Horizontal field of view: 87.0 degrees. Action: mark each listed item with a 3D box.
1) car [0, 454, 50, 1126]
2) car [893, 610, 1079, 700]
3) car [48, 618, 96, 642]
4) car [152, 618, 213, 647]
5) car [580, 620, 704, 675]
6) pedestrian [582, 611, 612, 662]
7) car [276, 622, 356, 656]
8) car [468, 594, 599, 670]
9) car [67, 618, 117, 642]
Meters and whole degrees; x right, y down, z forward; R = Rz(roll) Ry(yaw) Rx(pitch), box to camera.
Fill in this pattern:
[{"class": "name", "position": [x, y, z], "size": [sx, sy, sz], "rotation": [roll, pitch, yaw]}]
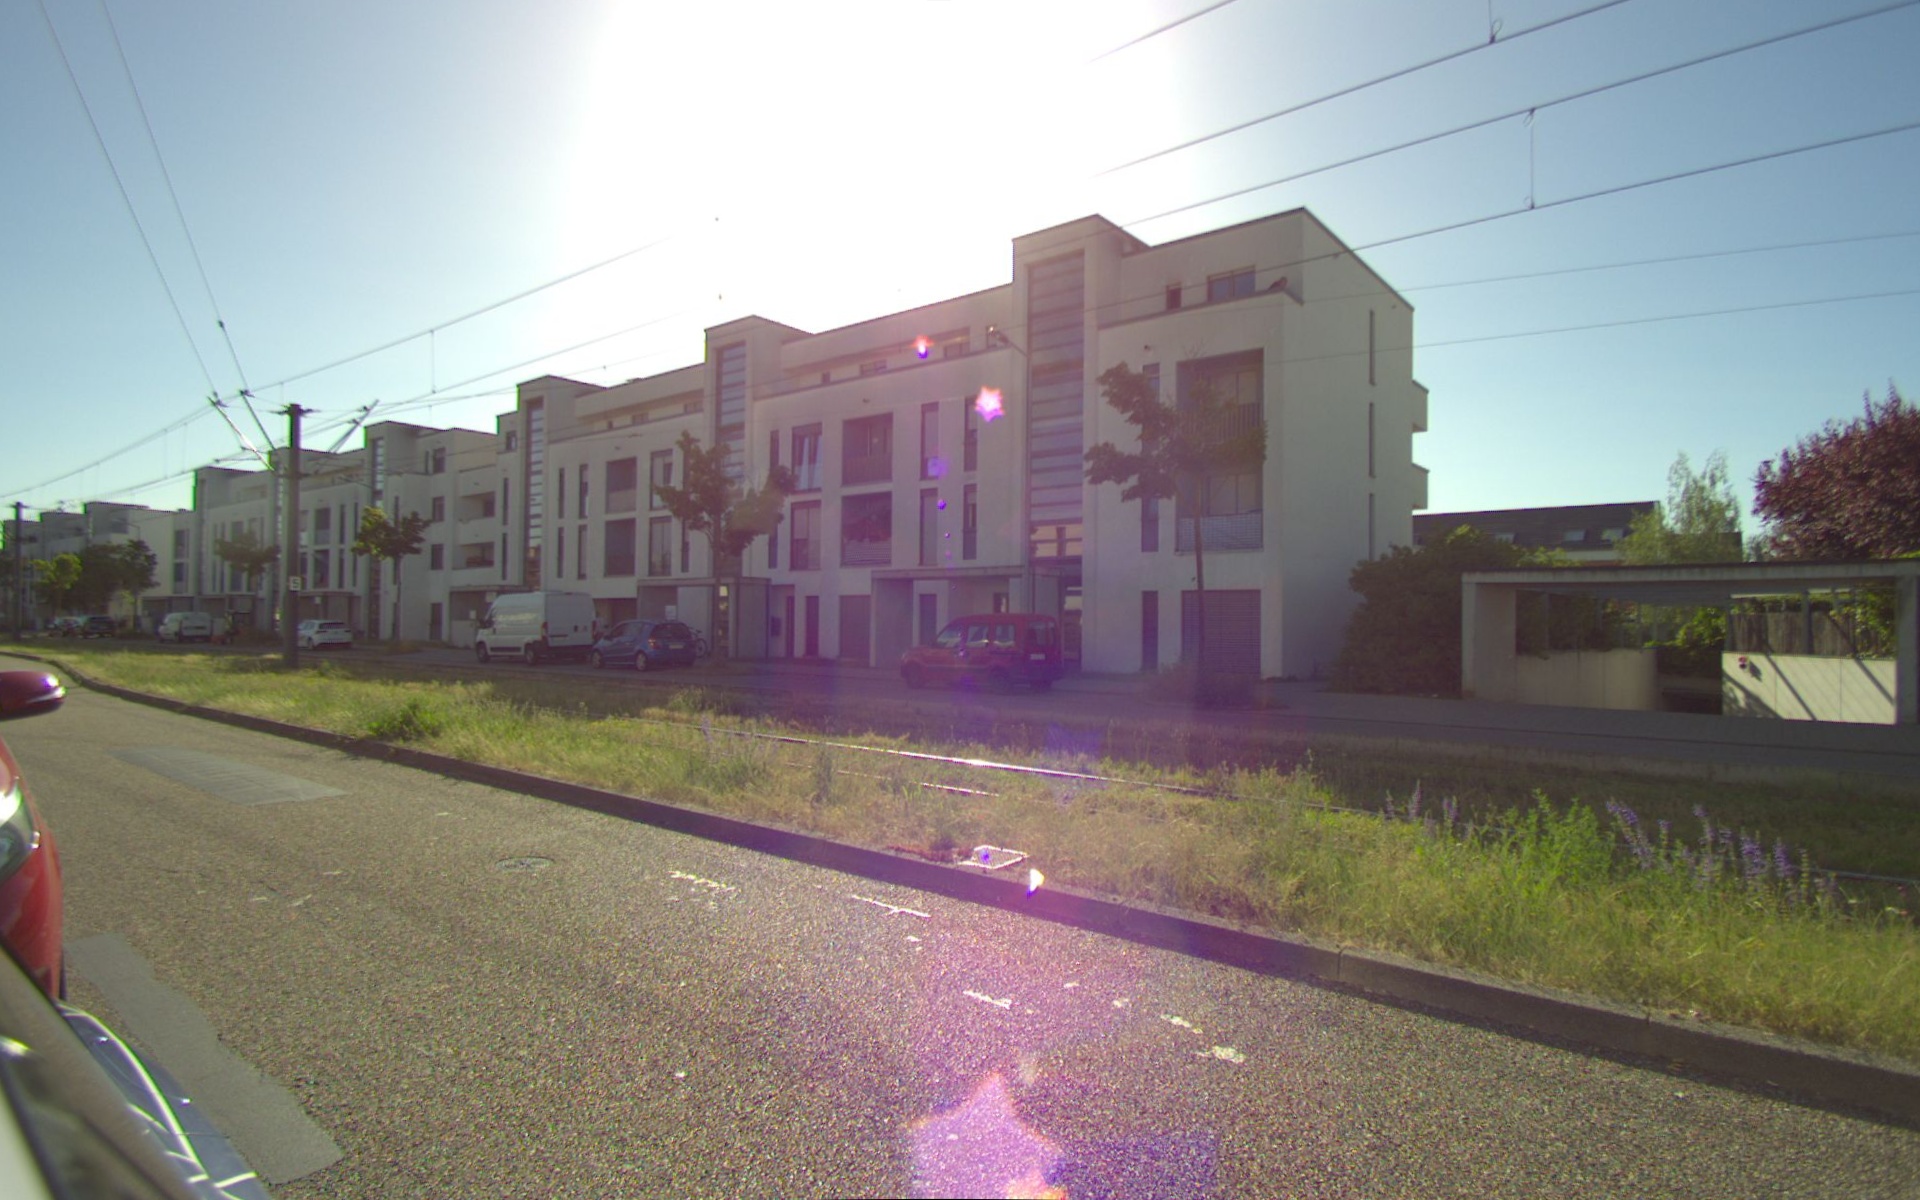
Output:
[{"class": "car", "position": [-4.900, 0.554, 3.678], "size": [4.505, 1.868, 1.850], "rotation": [-1, 0, 41]}, {"class": "car", "position": [0.535, 1.169, 23.021], "size": [3.895, 1.842, 1.972], "rotation": [-1, 0, 43]}, {"class": "car", "position": [-67.528, 2.252, 76.928], "size": [4.277, 1.693, 1.900], "rotation": [-1, 0, 37]}, {"class": "car", "position": [-47.361, 1.960, 61.624], "size": [4.277, 1.693, 1.900], "rotation": [-1, 0, 37]}, {"class": "car", "position": [-10.004, 1.448, 31.742], "size": [3.833, 1.556, 1.973], "rotation": [-1, 0, 40]}, {"class": "pedestrian", "position": [-13.492, 1.343, 37.653], "size": [0.785, 1.836, 0.766], "rotation": [-1, 0, 41]}, {"class": "car", "position": [-31.140, 1.838, 48.900], "size": [4.277, 1.517, 1.900], "rotation": [-1, 0, 37]}, {"class": "car", "position": [-15.199, 1.075, 35.946], "size": [5.193, 2.491, 2.197], "rotation": [-1, 0, 40]}, {"class": "car", "position": [-62.983, 2.162, 73.404], "size": [4.277, 1.693, 1.900], "rotation": [-1, 0, 37]}]
